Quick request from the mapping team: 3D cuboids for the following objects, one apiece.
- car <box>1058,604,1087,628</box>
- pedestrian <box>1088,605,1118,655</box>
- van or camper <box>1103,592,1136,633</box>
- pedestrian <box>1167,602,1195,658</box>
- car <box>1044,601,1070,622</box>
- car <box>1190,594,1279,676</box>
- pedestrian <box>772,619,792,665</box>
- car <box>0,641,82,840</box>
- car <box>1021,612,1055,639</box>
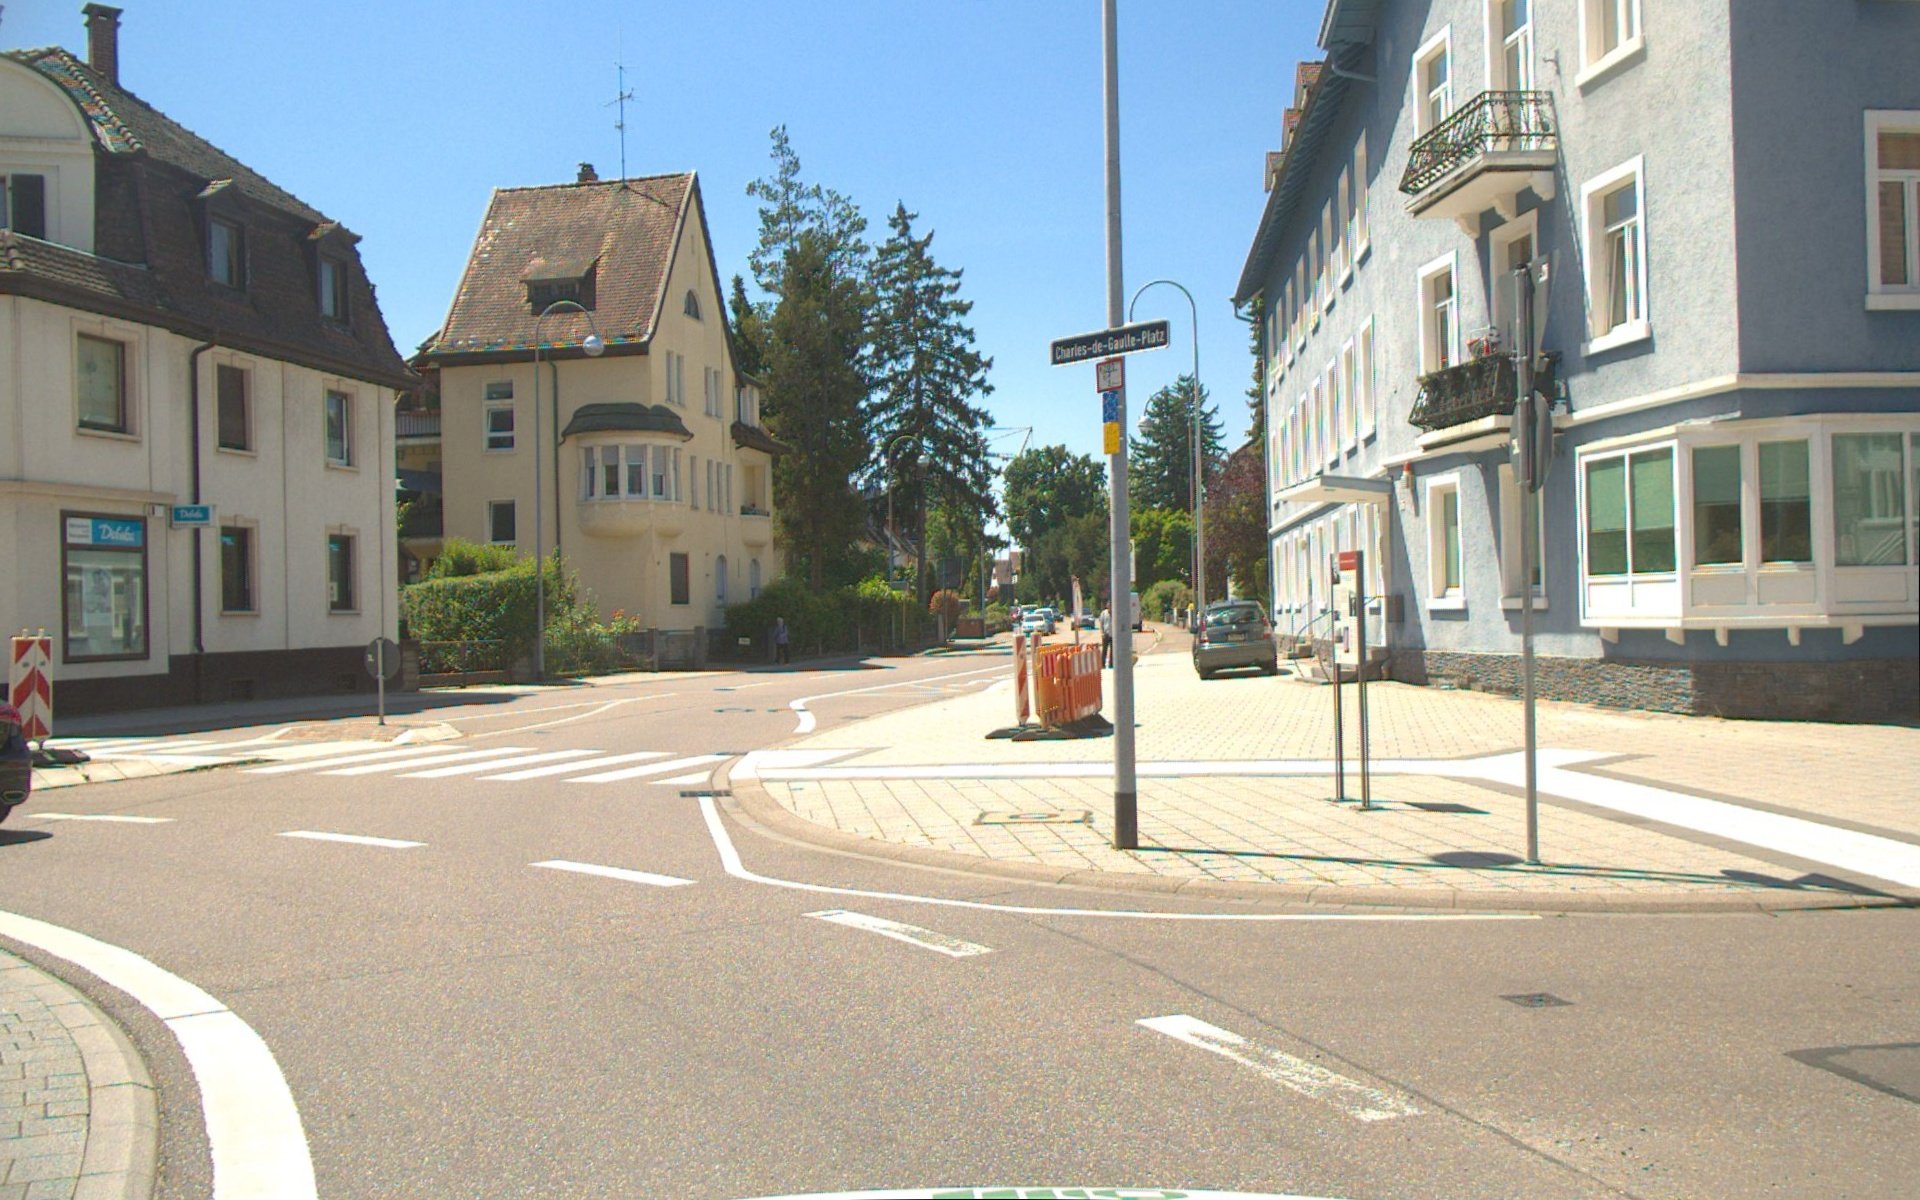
[{"bbox_3d":[8.660,1.247,127.120,1.951,1.747,4.003,-1,-1,7],"label":"car"},{"bbox_3d":[3.971,0.826,45.899,0.652,1.308,0.587,-5,-1,14],"label":"pedestrian"},{"bbox_3d":[10.636,0.819,110.310,2.159,2.656,4.002,-1,-1,5],"label":"van or camper"},{"bbox_3d":[6.643,0.906,49.727,0.652,1.621,0.587,-5,-1,14],"label":"pedestrian"},{"bbox_3d":[10.142,1.180,172.655,1.956,2.049,3.993,-1,0,-8],"label":"car"},{"bbox_3d":[5.756,0.699,35.010,1.605,1.533,3.566,-4,0,7],"label":"car"},{"bbox_3d":[-5.978,1.404,55.650,0.511,1.535,0.473,-1,-1,13],"label":"pedestrian"},{"bbox_3d":[-8.917,1.049,12.429,3.904,1.452,1.960,-1,-2,19],"label":"car"},{"bbox_3d":[5.172,1.678,109.333,1.951,1.680,4.002,-1,-1,6],"label":"car"}]
